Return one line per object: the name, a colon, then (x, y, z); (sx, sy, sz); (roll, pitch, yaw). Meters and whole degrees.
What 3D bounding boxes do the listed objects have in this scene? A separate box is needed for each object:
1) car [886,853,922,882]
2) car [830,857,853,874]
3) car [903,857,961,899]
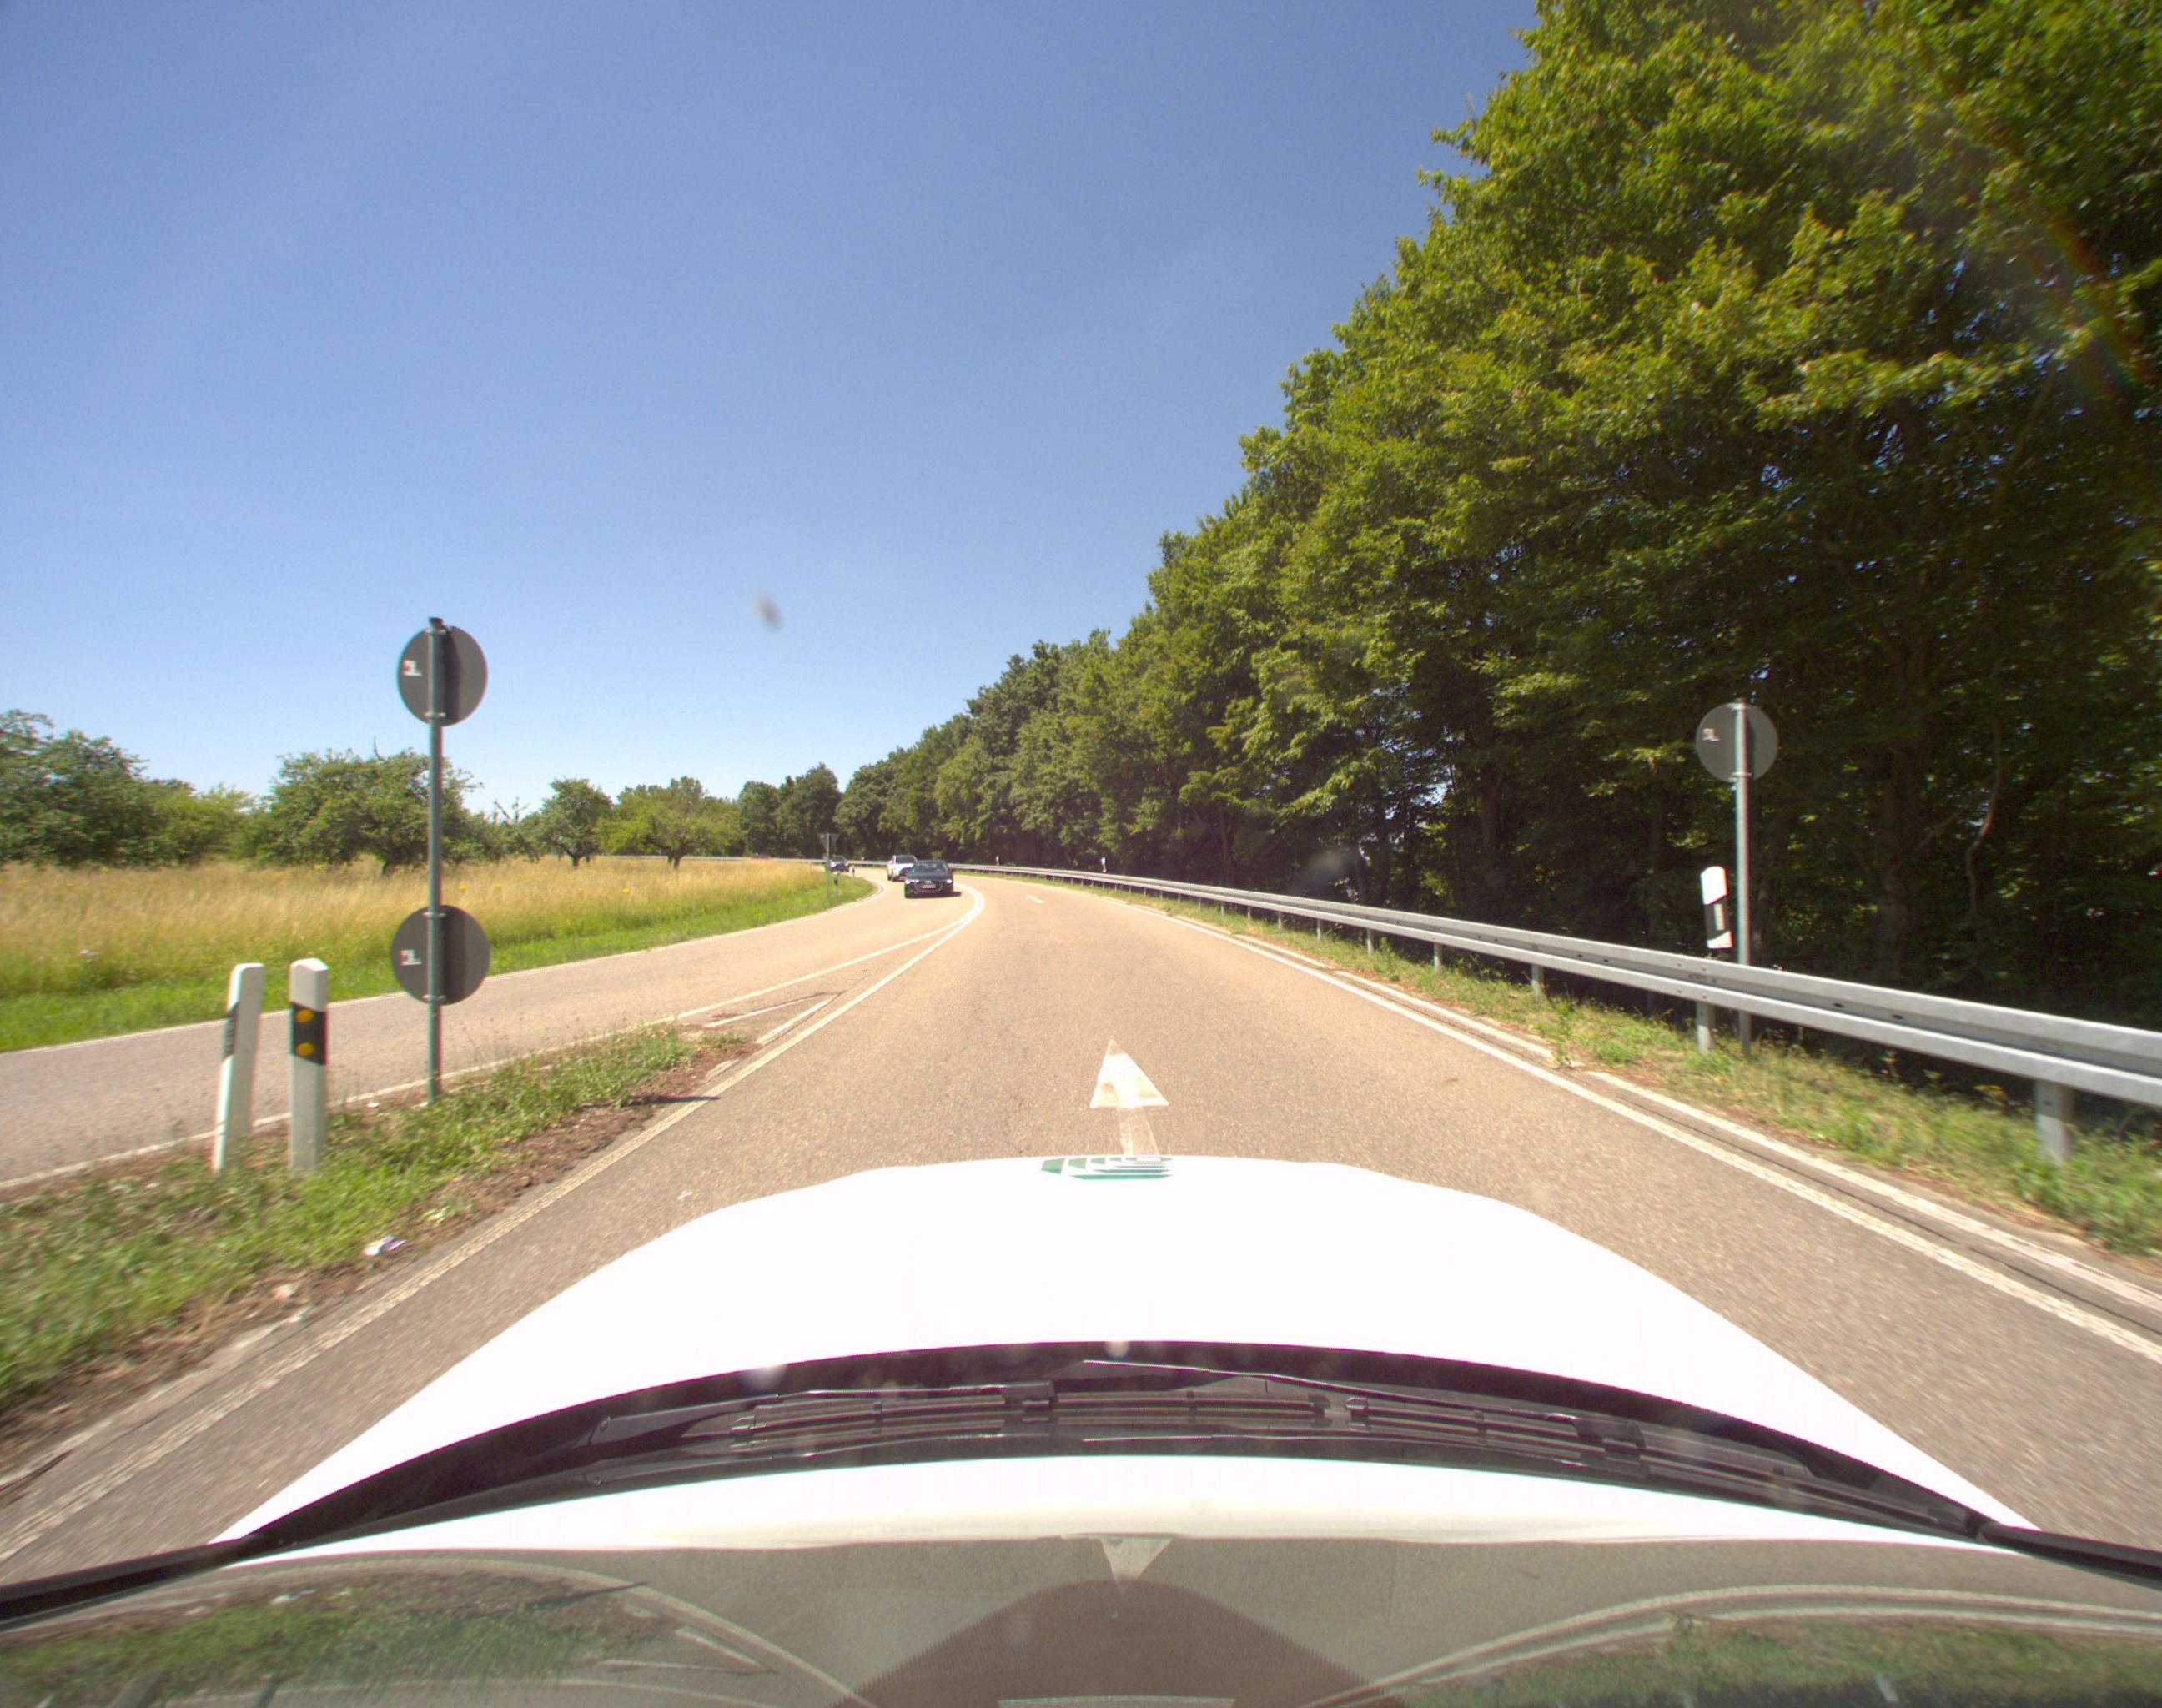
car: (-11.013, 0.859, 50.507); (1.827, 1.590, 4.193); (-3, -1, -17)
car: (-22.082, 1.023, 75.017); (1.741, 1.507, 4.044); (-1, -1, -21)
car: (-5.967, 0.910, 33.040); (1.799, 1.507, 4.650); (-2, 0, -5)
